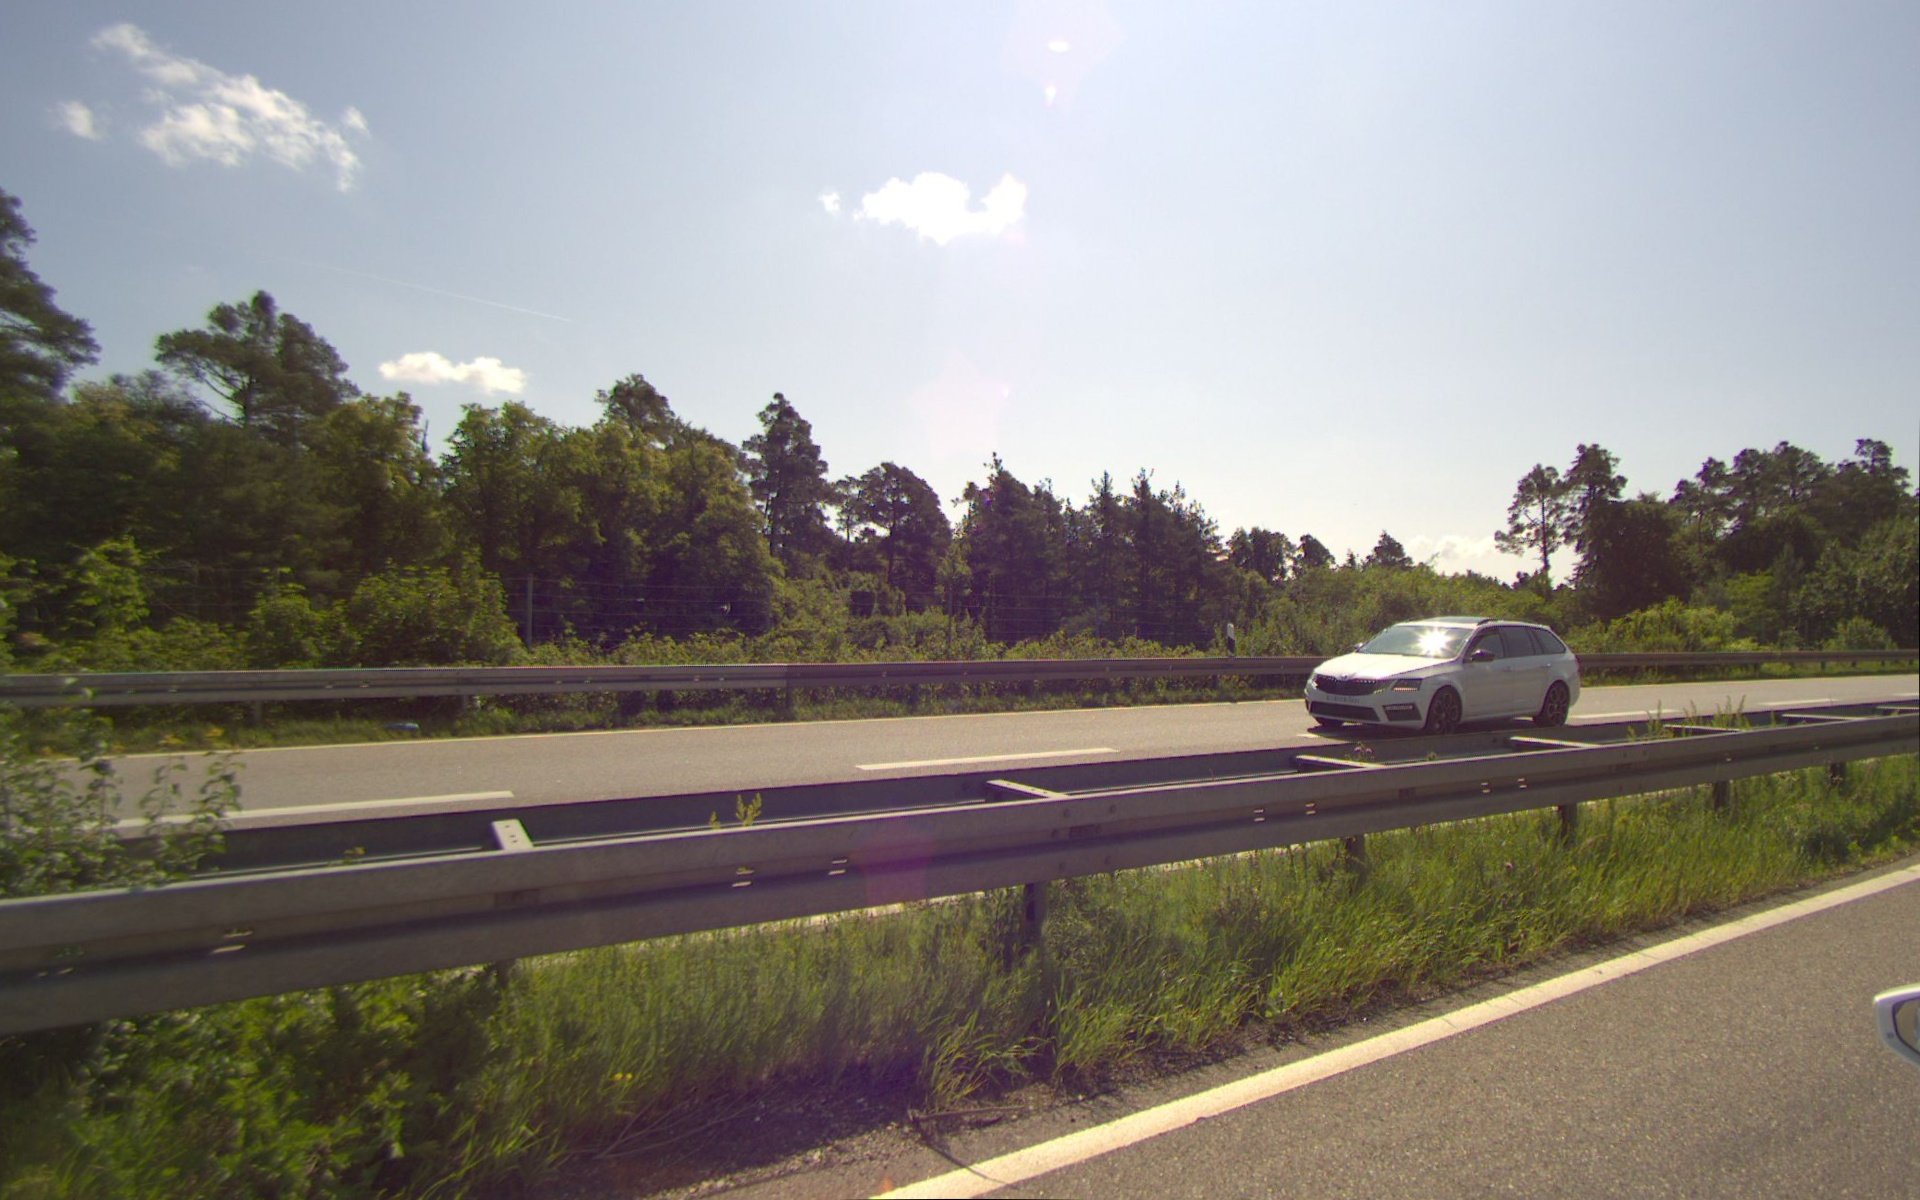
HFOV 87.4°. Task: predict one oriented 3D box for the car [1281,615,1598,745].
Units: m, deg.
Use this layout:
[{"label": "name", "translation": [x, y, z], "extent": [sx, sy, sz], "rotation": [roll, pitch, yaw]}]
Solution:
[{"label": "car", "translation": [6.568, 0.973, 13.586], "extent": [4.557, 1.463, 1.783], "rotation": [1, 0, -33]}]
